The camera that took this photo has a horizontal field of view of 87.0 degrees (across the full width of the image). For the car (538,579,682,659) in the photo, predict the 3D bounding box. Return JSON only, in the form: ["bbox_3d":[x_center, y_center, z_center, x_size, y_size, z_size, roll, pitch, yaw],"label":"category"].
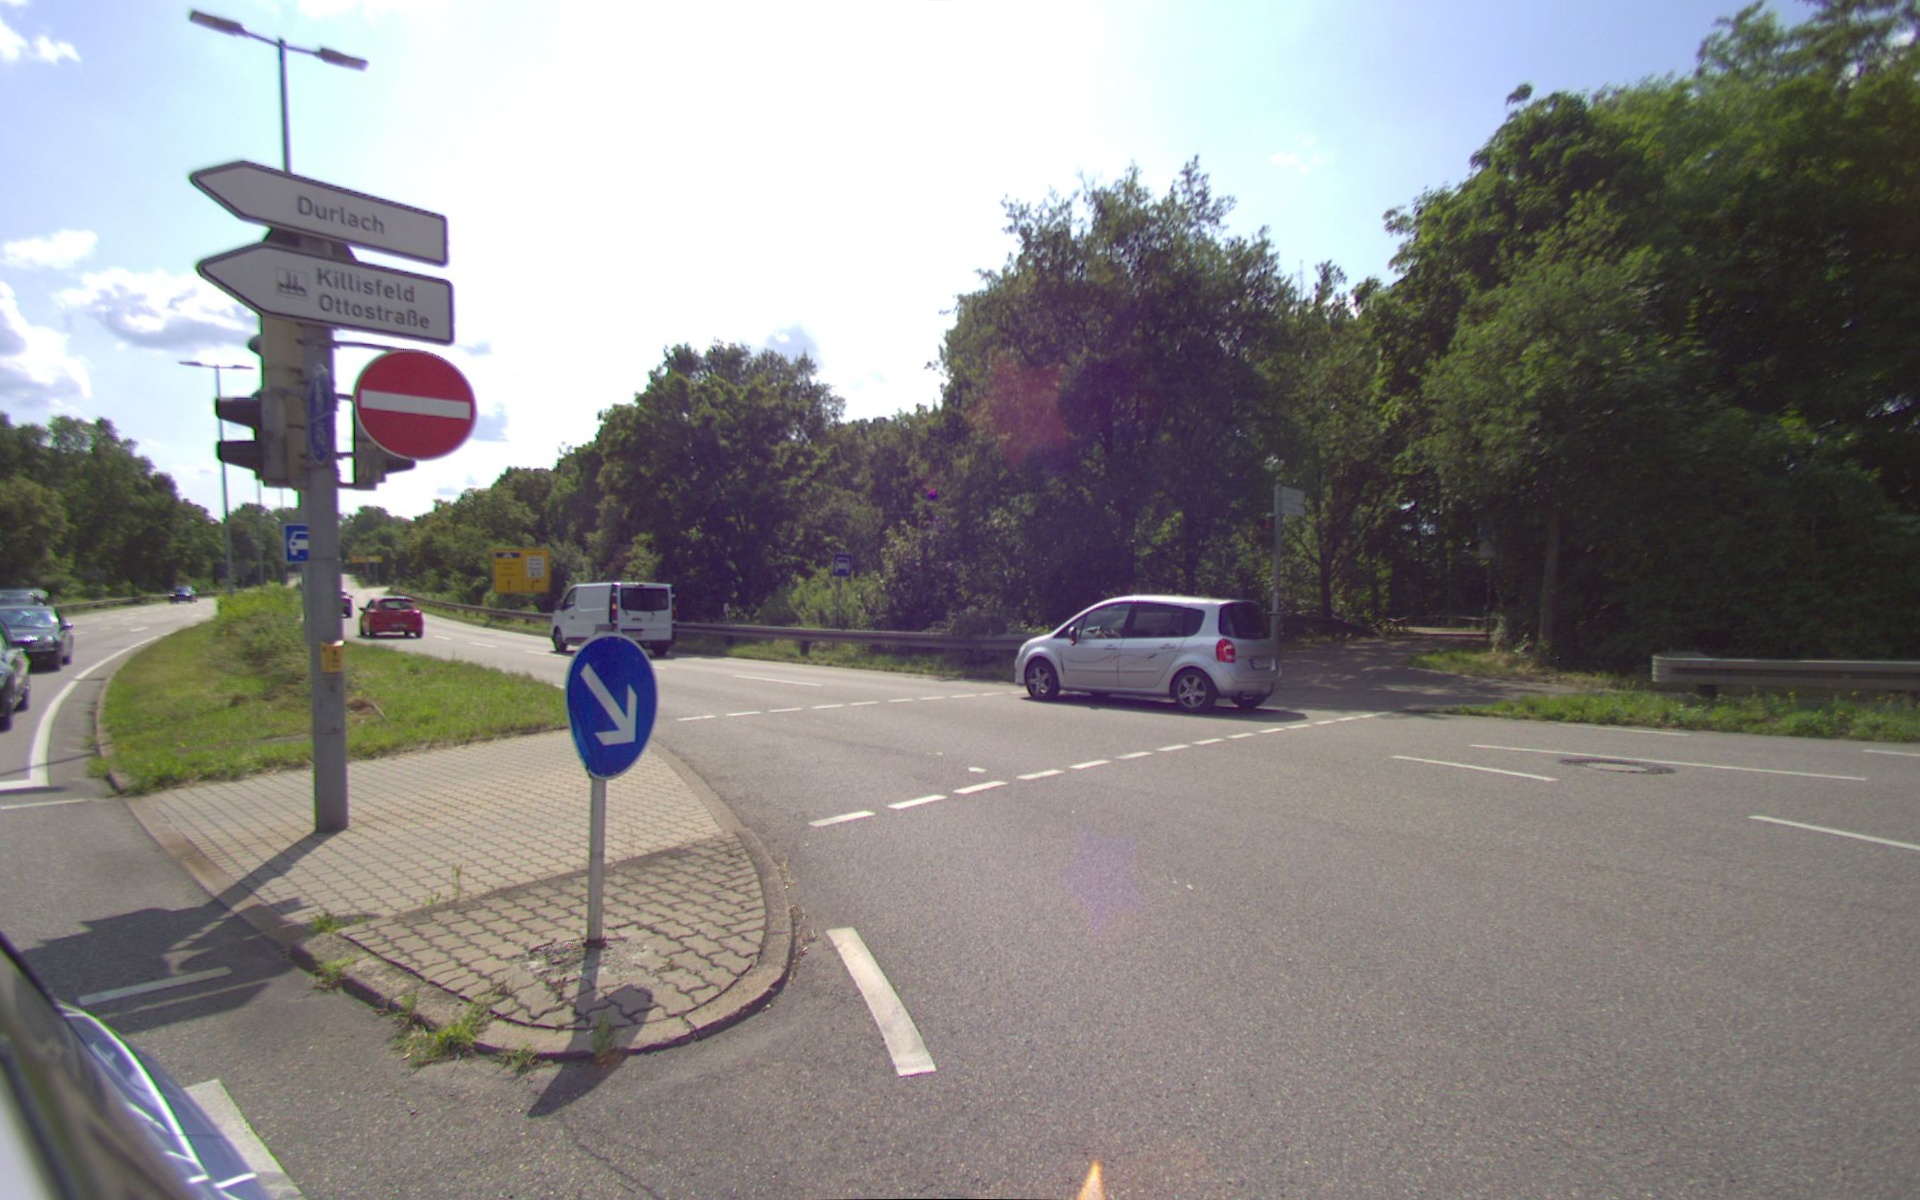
[{"bbox_3d":[-9.838,0.527,28.189,1.969,2.029,5.142,2,-2,-41],"label":"car"}]

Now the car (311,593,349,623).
[{"bbox_3d":[-36.002,0.454,57.778,1.687,1.598,4.293,-1,0,-34],"label":"car"}]

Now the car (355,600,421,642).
[{"bbox_3d":[-20.912,0.731,36.910,1.560,1.443,4.009,1,-1,-37],"label":"car"}]

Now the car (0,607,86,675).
[{"bbox_3d":[-21.307,0.880,22.818,1.828,1.421,4.011,-1,0,-32],"label":"car"}]

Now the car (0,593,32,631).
[{"bbox_3d":[-37.183,0.471,38.659,1.828,1.421,4.011,-1,0,-32],"label":"car"}]

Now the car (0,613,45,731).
[{"bbox_3d":[-13.061,0.855,12.777,1.829,1.373,4.009,1,-1,-37],"label":"car"}]

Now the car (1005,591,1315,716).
[{"bbox_3d":[2.748,0.719,14.513,4.068,1.532,1.714,-2,-2,43],"label":"car"}]
